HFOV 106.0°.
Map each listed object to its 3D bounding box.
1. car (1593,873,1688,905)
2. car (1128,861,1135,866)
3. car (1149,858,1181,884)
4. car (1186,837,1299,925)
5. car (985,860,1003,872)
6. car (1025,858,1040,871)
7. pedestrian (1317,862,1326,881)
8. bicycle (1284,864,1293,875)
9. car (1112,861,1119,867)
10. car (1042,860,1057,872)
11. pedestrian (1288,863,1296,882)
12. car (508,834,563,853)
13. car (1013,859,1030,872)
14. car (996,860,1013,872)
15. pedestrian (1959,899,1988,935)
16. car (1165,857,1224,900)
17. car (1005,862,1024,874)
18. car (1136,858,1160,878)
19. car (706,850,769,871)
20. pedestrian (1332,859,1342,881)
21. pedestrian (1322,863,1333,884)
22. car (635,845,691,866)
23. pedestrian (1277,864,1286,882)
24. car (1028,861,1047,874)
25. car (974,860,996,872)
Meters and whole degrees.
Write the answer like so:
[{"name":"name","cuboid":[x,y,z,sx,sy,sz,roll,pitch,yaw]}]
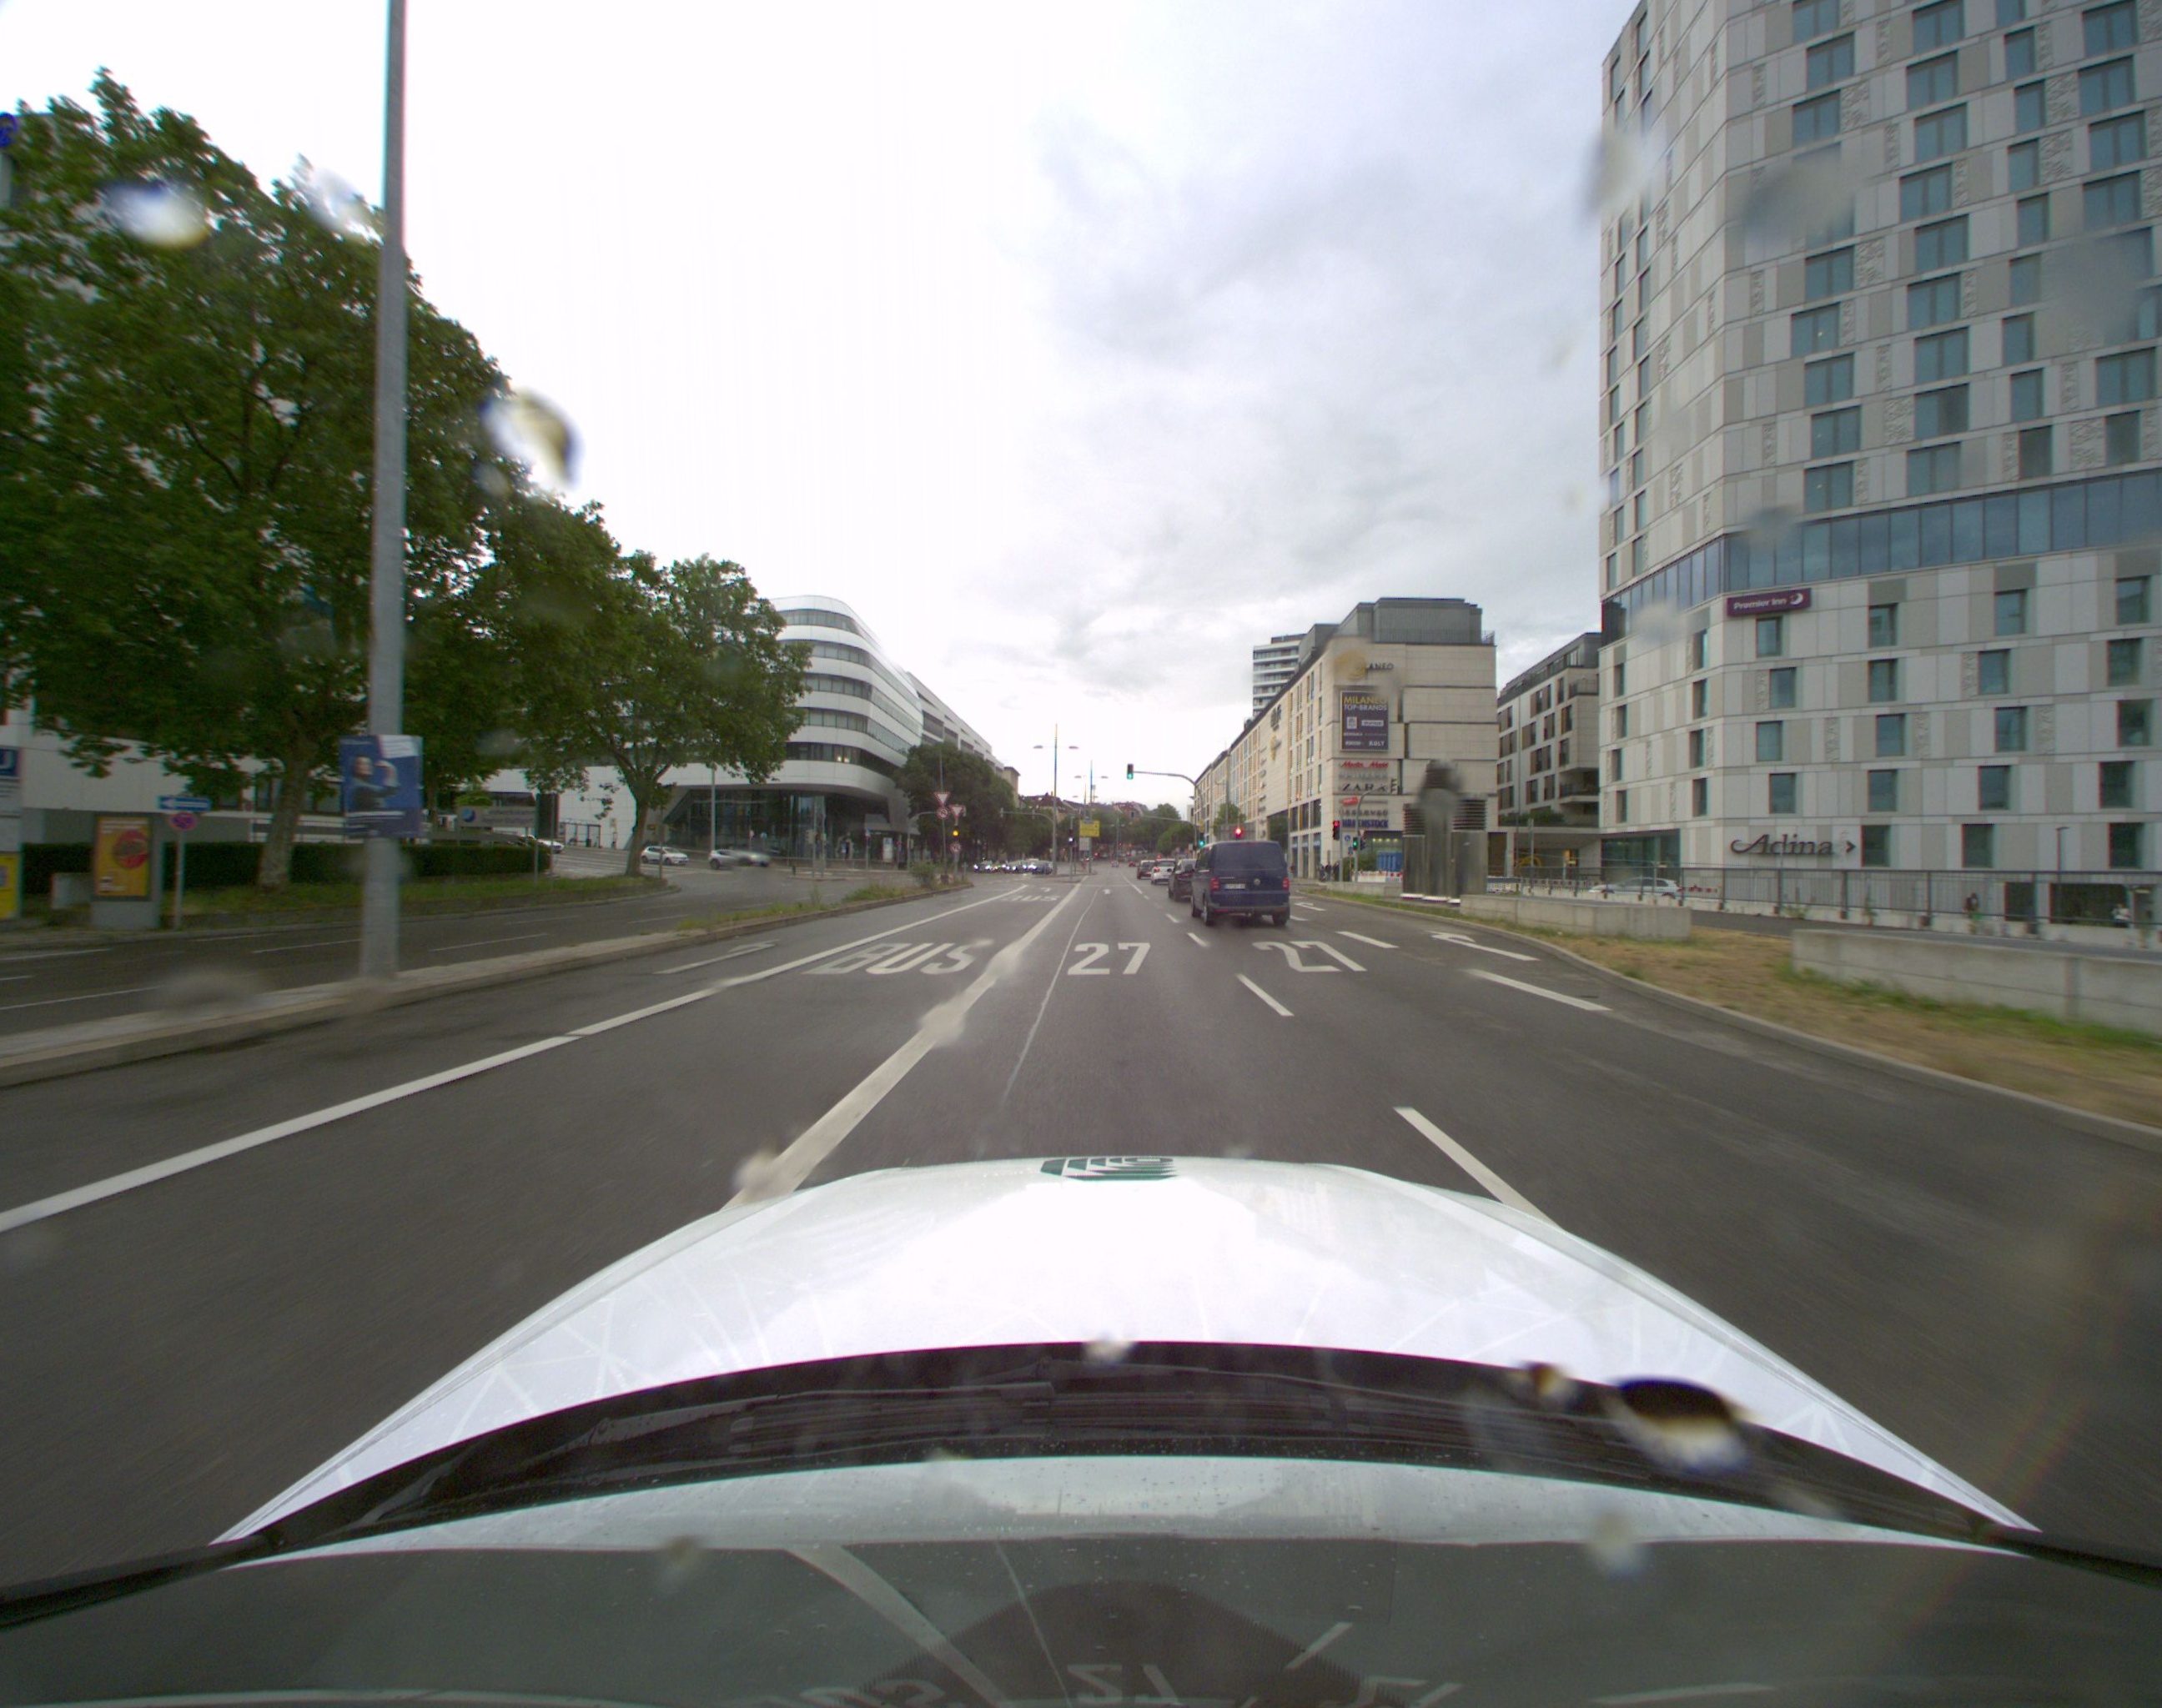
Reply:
[{"name":"car","cuboid":[29.166,1.789,42.609,3.949,1.433,1.754,2,0,30]},{"name":"car","cuboid":[14.285,2.676,229.767,1.733,1.531,3.816,0,-1,2]},{"name":"car","cuboid":[5.014,1.027,49.001,1.717,1.531,3.816,0,-1,2]},{"name":"car","cuboid":[3.871,0.576,20.383,2.025,1.882,5.045,-1,0,3]},{"name":"car","cuboid":[-10.631,1.526,99.640,1.736,1.424,3.541,0,-1,2]},{"name":"car","cuboid":[-6.719,1.501,112.894,1.736,1.748,3.541,0,-1,2]},{"name":"pedestrian","cuboid":[21.215,1.536,71.813,0.588,1.642,0.591,-1,-2,27]},{"name":"bicycle","cuboid":[18.136,1.358,71.178,0.447,1.016,1.743,0,-1,3]},{"name":"car","cuboid":[9.206,2.779,217.444,1.733,1.531,3.816,-1,0,2]},{"name":"car","cuboid":[-4.011,1.541,104.090,1.532,1.478,3.698,0,-1,2]},{"name":"pedestrian","cuboid":[18.441,1.625,71.068,0.548,1.611,0.698,0,-2,2]},{"name":"car","cuboid":[-48.107,-0.933,71.856,3.955,1.631,1.903,1,-1,18]},{"name":"car","cuboid":[-7.217,1.384,99.276,1.736,1.559,3.541,0,-1,2]},{"name":"car","cuboid":[-9.811,1.568,105.025,1.736,1.559,3.541,0,-1,2]},{"name":"pedestrian","cuboid":[44.068,3.080,40.211,0.802,1.702,0.792,1,-2,-31]},{"name":"car","cuboid":[4.255,0.875,30.973,1.784,1.507,4.341,0,0,2]},{"name":"car","cuboid":[-7.521,1.566,92.302,1.736,1.257,3.541,0,0,2]},{"name":"car","cuboid":[5.260,1.116,64.475,1.733,1.531,3.816,0,-1,2]},{"name":"car","cuboid":[-27.434,0.530,65.120,4.465,1.631,1.903,-1,-2,18]},{"name":"pedestrian","cuboid":[20.811,1.309,66.143,0.441,1.780,0.590,0,-2,-25]},{"name":"pedestrian","cuboid":[19.650,1.572,64.962,0.619,1.672,0.824,0,-2,2]},{"name":"car","cuboid":[-34.884,0.147,68.010,3.955,1.631,1.903,-1,-2,18]},{"name":"pedestrian","cuboid":[17.570,1.649,71.283,0.610,1.611,0.819,0,-2,2]},{"name":"car","cuboid":[-4.849,1.515,90.876,1.736,1.445,3.396,0,-1,2]},{"name":"car","cuboid":[-10.707,1.364,90.892,1.736,1.328,4.227,0,-1,2]}]
